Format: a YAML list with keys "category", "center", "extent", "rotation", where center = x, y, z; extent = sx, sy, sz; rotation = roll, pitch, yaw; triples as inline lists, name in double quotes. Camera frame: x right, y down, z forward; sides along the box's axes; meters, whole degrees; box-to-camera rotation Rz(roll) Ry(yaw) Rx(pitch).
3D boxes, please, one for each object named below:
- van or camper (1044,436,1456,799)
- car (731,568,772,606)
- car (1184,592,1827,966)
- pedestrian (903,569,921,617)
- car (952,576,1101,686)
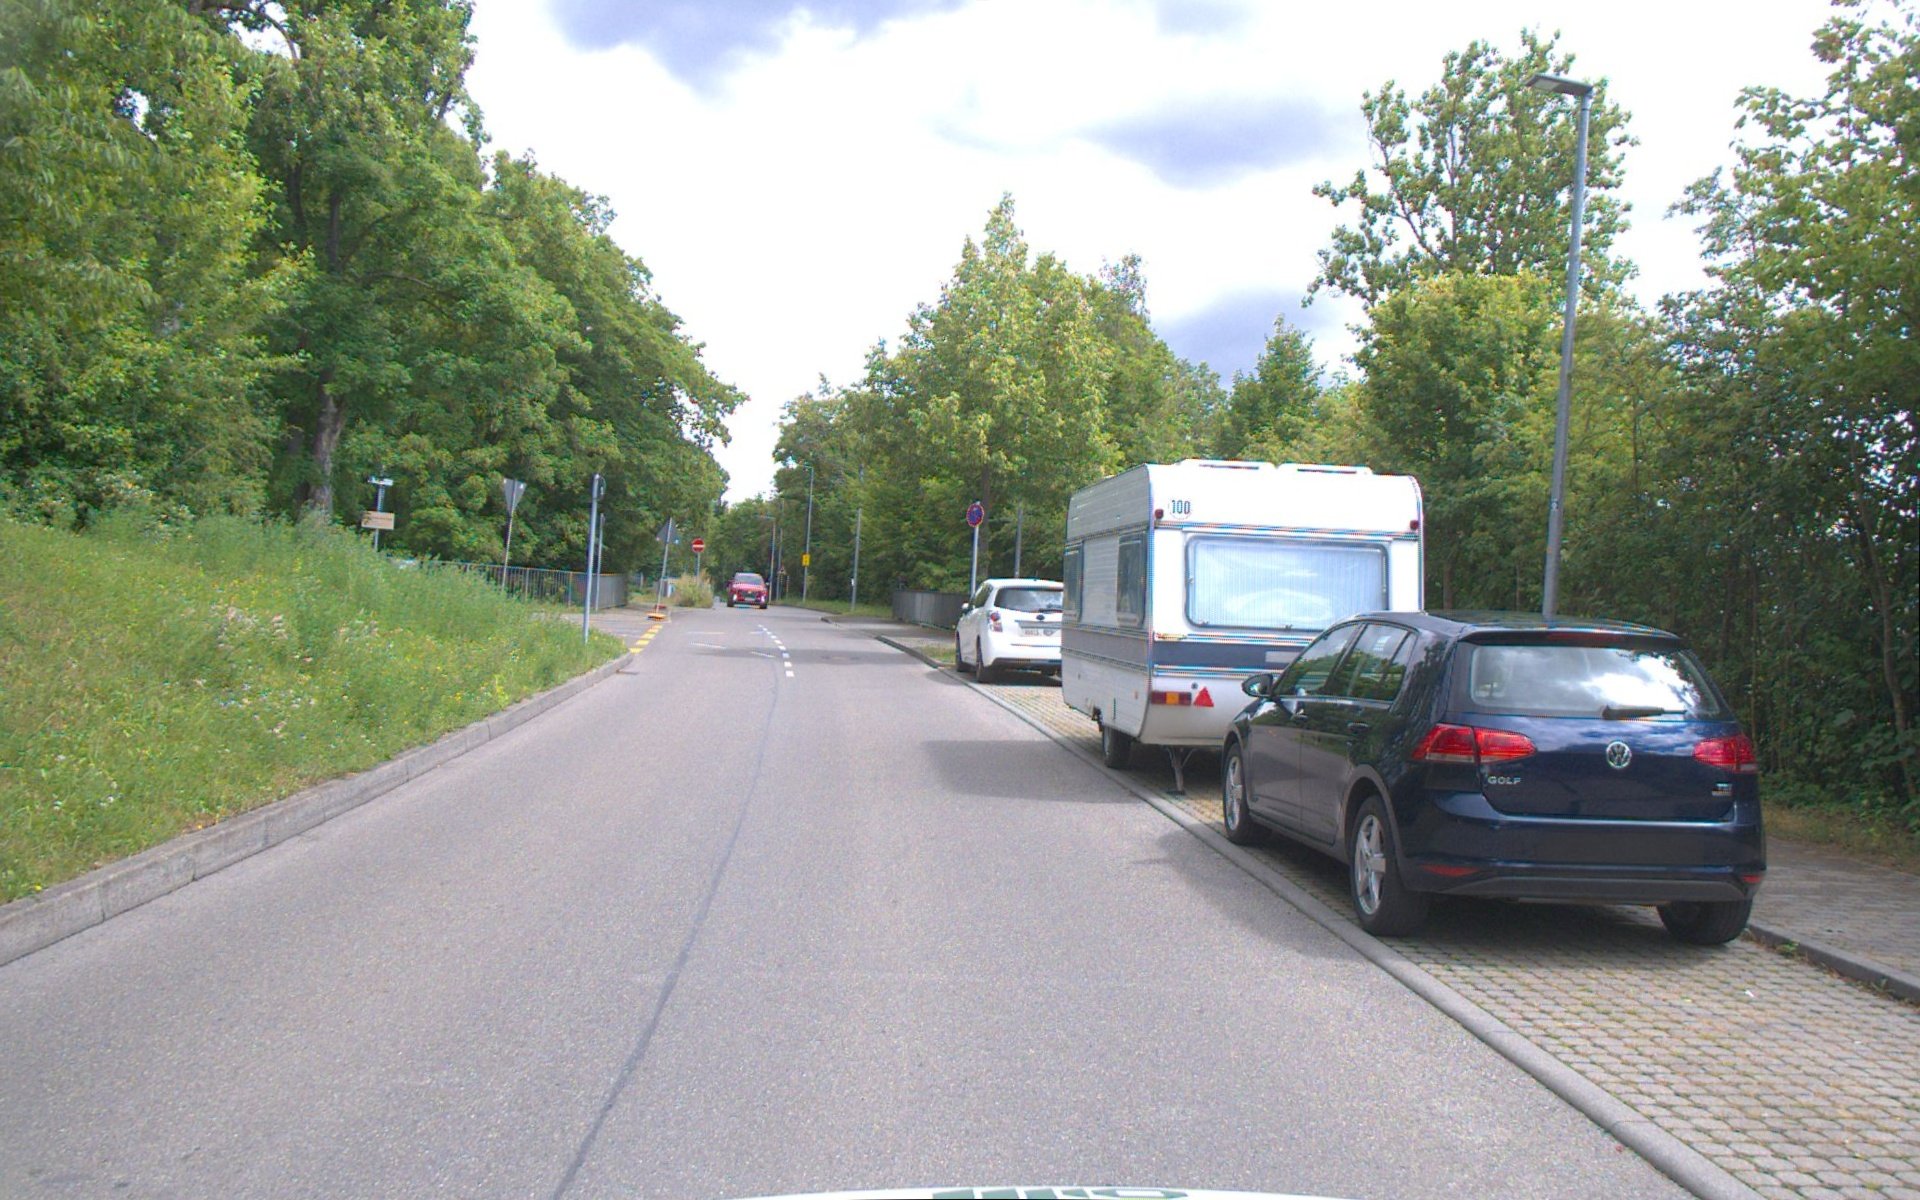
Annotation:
- category: "van or camper"
  center: [2.264, 0.127, 14.635]
  extent: [2.309, 2.598, 5.069]
  rotation: [2, 0, -5]
- category: "car"
  center: [-10.110, -0.663, 79.889]
  extent: [1.809, 1.687, 4.213]
  rotation: [3, 1, -9]
- category: "car"
  center: [2.560, 0.733, 9.025]
  extent: [1.649, 1.476, 4.475]
  rotation: [3, 0, -5]
- category: "pedestrian"
  center: [-1.863, -0.271, 64.280]
  extent: [0.575, 1.814, 0.682]
  rotation: [3, -2, -4]
- category: "car"
  center: [1.004, 0.450, 27.459]
  extent: [1.770, 1.627, 4.365]
  rotation: [2, 1, -7]
